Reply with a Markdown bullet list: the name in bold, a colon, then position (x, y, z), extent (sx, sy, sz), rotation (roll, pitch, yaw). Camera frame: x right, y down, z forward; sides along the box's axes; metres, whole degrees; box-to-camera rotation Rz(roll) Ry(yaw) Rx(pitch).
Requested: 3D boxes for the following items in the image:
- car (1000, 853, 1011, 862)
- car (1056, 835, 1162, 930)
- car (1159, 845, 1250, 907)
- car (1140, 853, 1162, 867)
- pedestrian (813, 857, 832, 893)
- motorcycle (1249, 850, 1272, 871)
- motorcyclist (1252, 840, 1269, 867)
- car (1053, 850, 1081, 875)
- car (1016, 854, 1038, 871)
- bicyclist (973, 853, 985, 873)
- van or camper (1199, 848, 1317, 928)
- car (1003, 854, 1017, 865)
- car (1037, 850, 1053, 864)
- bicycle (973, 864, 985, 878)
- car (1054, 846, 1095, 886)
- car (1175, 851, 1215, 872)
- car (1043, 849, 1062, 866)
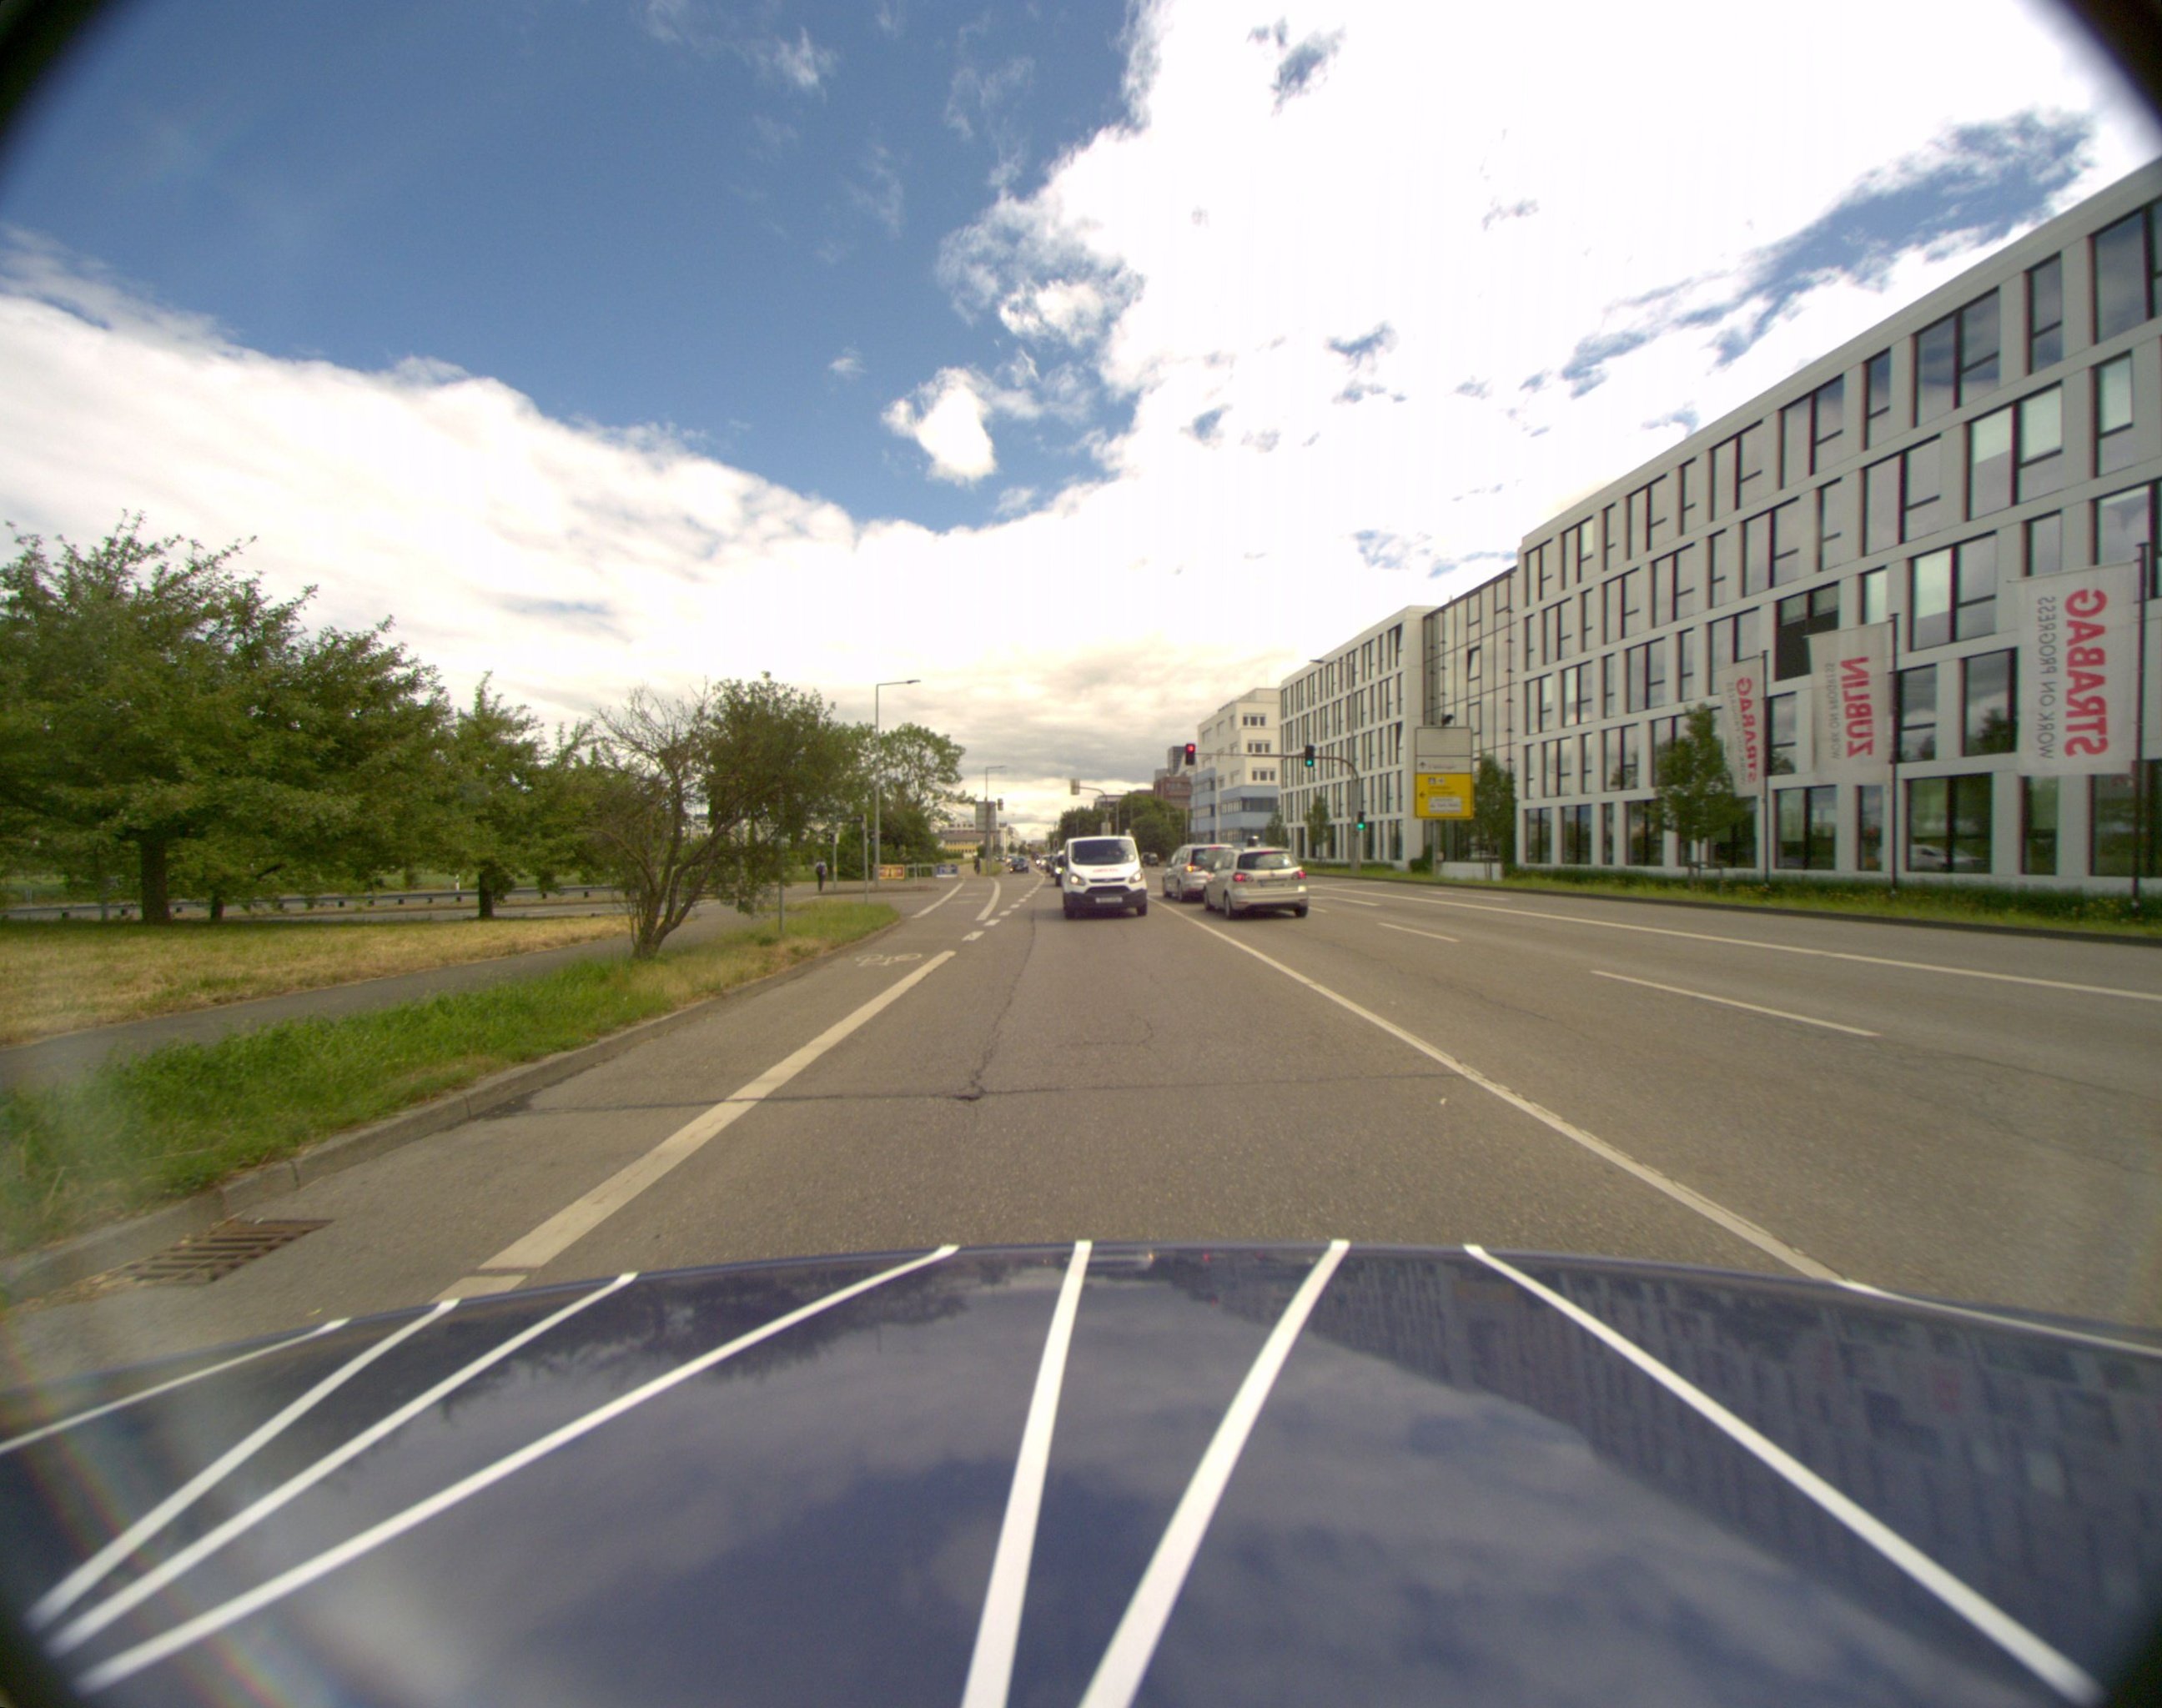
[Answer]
- **car**: position (-15.164, 0.621, 151.883), extent (1.873, 1.685, 4.368), rotation (-2, 0, -8)
- **car**: position (0.500, 0.611, 19.348), extent (2.122, 1.963, 6.205), rotation (-2, 0, -3)
- **car**: position (3.724, 0.621, 23.686), extent (1.872, 1.685, 4.370), rotation (-2, 0, -3)
- **car**: position (7.109, 0.587, 77.402), extent (1.609, 1.384, 3.638), rotation (-2, 0, -6)
- **pedestrian**: position (-13.500, 1.085, 39.710), extent (0.801, 1.872, 0.765), rotation (-2, 1, -14)
- **motorcycle**: position (10.168, 0.366, 43.004), extent (0.656, 1.106, 1.933), rotation (-2, 0, -5)
- **motorcyclist**: position (10.151, -0.030, 43.045), extent (0.656, 1.501, 0.917), rotation (-2, 1, -5)
- **car**: position (-1.044, 0.575, 53.998), extent (1.872, 1.685, 4.370), rotation (-2, 0, -3)
- **car**: position (-4.770, 0.743, 67.643), extent (1.736, 1.432, 4.367), rotation (-2, 0, -3)
- **bicyclist**: position (-8.973, 0.782, 66.872), extent (1.017, 1.698, 1.200), rotation (0, 1, -7)
- **van or camper**: position (3.985, 0.705, 17.807), extent (1.748, 1.600, 4.045), rotation (-2, 0, -1)
- **car**: position (-9.782, 0.733, 104.861), extent (1.736, 1.432, 4.366), rotation (-2, 0, -5)
- **car**: position (-4.643, 0.408, 97.775), extent (1.873, 1.685, 4.369), rotation (-2, 0, -4)
- **bicycle**: position (-8.989, 1.469, 66.933), extent (1.017, 1.127, 2.674), rotation (0, 0, -7)
- **car**: position (-0.373, 0.567, 38.655), extent (1.872, 1.836, 4.370), rotation (-2, 0, -3)
- **car**: position (7.693, 0.498, 51.659), extent (1.749, 1.347, 3.638), rotation (-2, 0, -7)
- **car**: position (-3.063, 0.338, 80.641), extent (1.872, 1.685, 4.370), rotation (-2, 0, -3)
